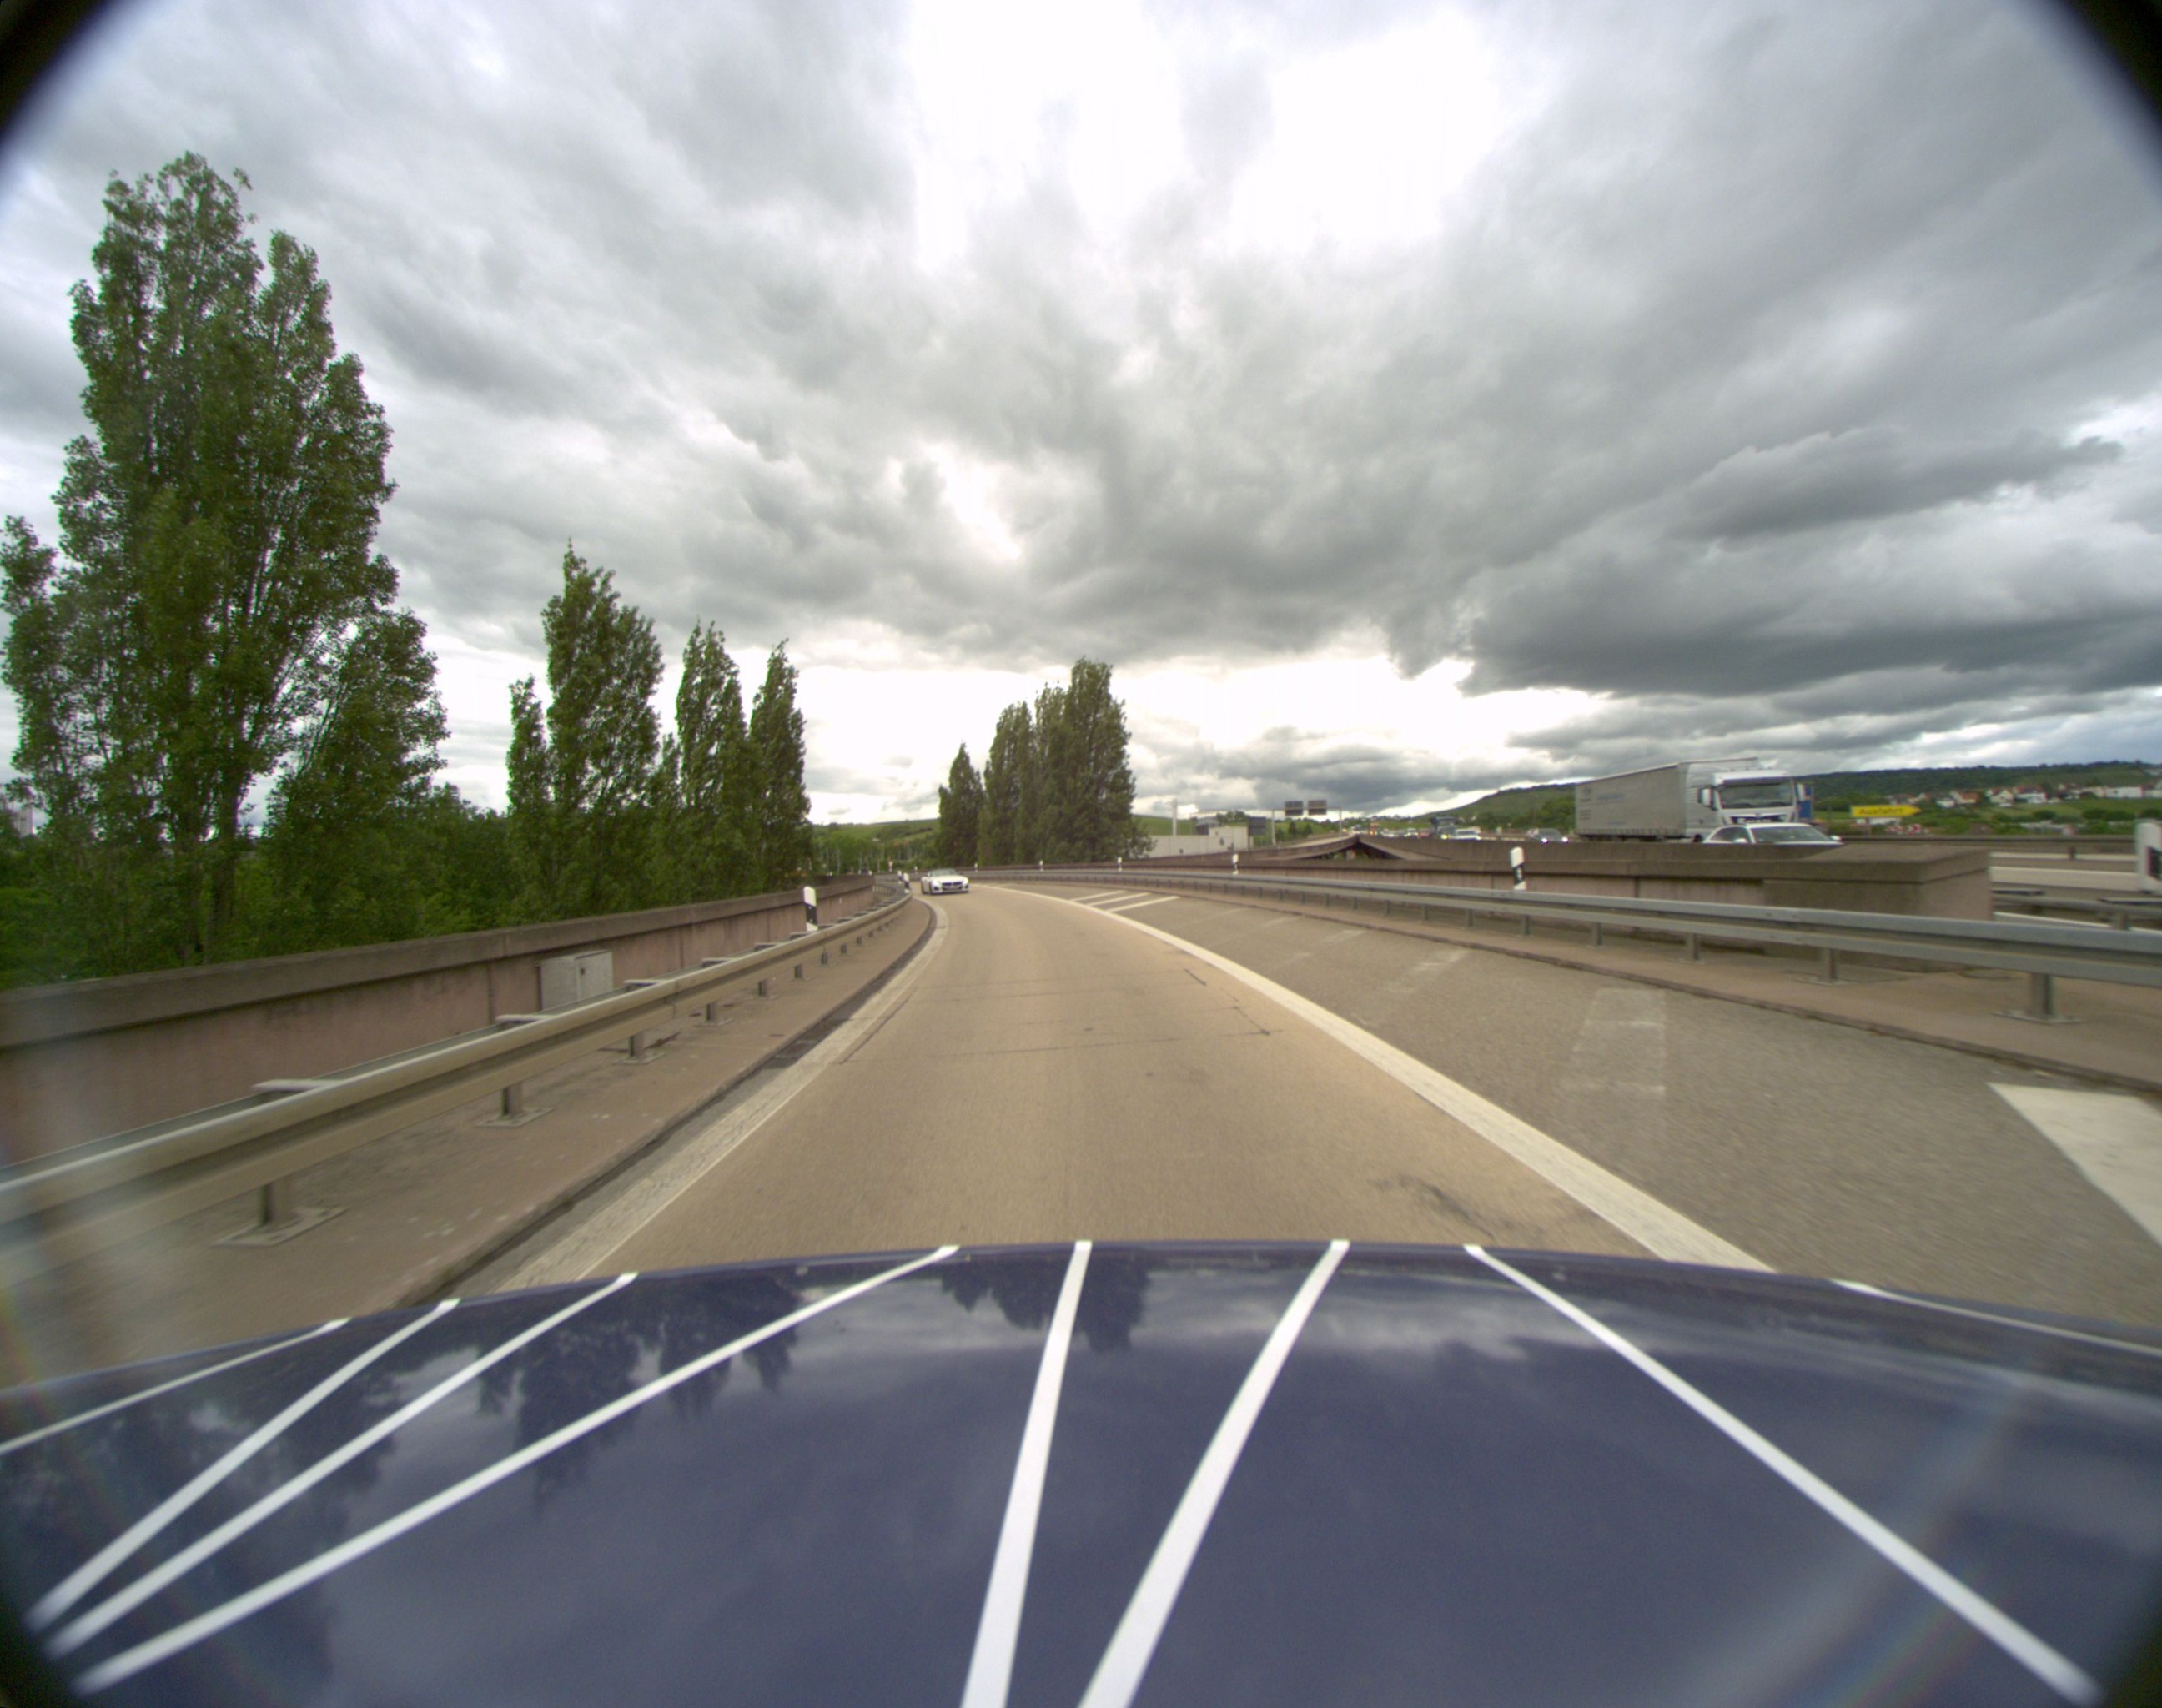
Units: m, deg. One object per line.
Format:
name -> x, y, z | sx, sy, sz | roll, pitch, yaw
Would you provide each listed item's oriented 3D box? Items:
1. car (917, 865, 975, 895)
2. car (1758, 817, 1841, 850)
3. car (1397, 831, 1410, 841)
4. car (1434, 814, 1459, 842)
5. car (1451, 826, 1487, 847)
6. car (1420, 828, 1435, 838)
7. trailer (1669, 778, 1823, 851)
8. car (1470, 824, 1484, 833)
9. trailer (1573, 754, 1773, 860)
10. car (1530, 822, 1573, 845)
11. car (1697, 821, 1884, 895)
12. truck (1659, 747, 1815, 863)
car -> -7.001, 1.276, 38.952 | 1.866, 1.337, 4.815 | -2, 1, -23
car -> 36.446, -1.035, 38.657 | 1.646, 1.582, 3.691 | 1, 1, 19
car -> 54.070, -2.993, 127.379 | 1.995, 1.672, 4.006 | -2, 0, 24
car -> 50.934, -3.612, 105.982 | 2.361, 3.639, 4.805 | -4, 0, 19
car -> 33.054, -1.453, 64.828 | 1.996, 1.672, 4.005 | -2, 0, 17
car -> 59.497, -3.609, 130.476 | 1.785, 1.509, 4.005 | -4, 0, 19
trailer -> 44.363, -2.403, 51.442 | 3.164, 4.322, 12.534 | 1, 1, 18
car -> 73.175, -4.750, 140.405 | 1.685, 1.509, 3.655 | -4, 0, 19
trailer -> 27.398, -1.999, 36.357 | 2.860, 3.988, 13.989 | -2, 1, 18
car -> 34.552, -1.483, 55.917 | 1.785, 1.509, 4.005 | -4, 0, 19
car -> 16.738, 0.069, 18.207 | 1.785, 1.509, 4.005 | -3, 0, 19
truck -> 25.146, -1.790, 29.442 | 2.860, 3.988, 4.797 | -2, 1, 18
